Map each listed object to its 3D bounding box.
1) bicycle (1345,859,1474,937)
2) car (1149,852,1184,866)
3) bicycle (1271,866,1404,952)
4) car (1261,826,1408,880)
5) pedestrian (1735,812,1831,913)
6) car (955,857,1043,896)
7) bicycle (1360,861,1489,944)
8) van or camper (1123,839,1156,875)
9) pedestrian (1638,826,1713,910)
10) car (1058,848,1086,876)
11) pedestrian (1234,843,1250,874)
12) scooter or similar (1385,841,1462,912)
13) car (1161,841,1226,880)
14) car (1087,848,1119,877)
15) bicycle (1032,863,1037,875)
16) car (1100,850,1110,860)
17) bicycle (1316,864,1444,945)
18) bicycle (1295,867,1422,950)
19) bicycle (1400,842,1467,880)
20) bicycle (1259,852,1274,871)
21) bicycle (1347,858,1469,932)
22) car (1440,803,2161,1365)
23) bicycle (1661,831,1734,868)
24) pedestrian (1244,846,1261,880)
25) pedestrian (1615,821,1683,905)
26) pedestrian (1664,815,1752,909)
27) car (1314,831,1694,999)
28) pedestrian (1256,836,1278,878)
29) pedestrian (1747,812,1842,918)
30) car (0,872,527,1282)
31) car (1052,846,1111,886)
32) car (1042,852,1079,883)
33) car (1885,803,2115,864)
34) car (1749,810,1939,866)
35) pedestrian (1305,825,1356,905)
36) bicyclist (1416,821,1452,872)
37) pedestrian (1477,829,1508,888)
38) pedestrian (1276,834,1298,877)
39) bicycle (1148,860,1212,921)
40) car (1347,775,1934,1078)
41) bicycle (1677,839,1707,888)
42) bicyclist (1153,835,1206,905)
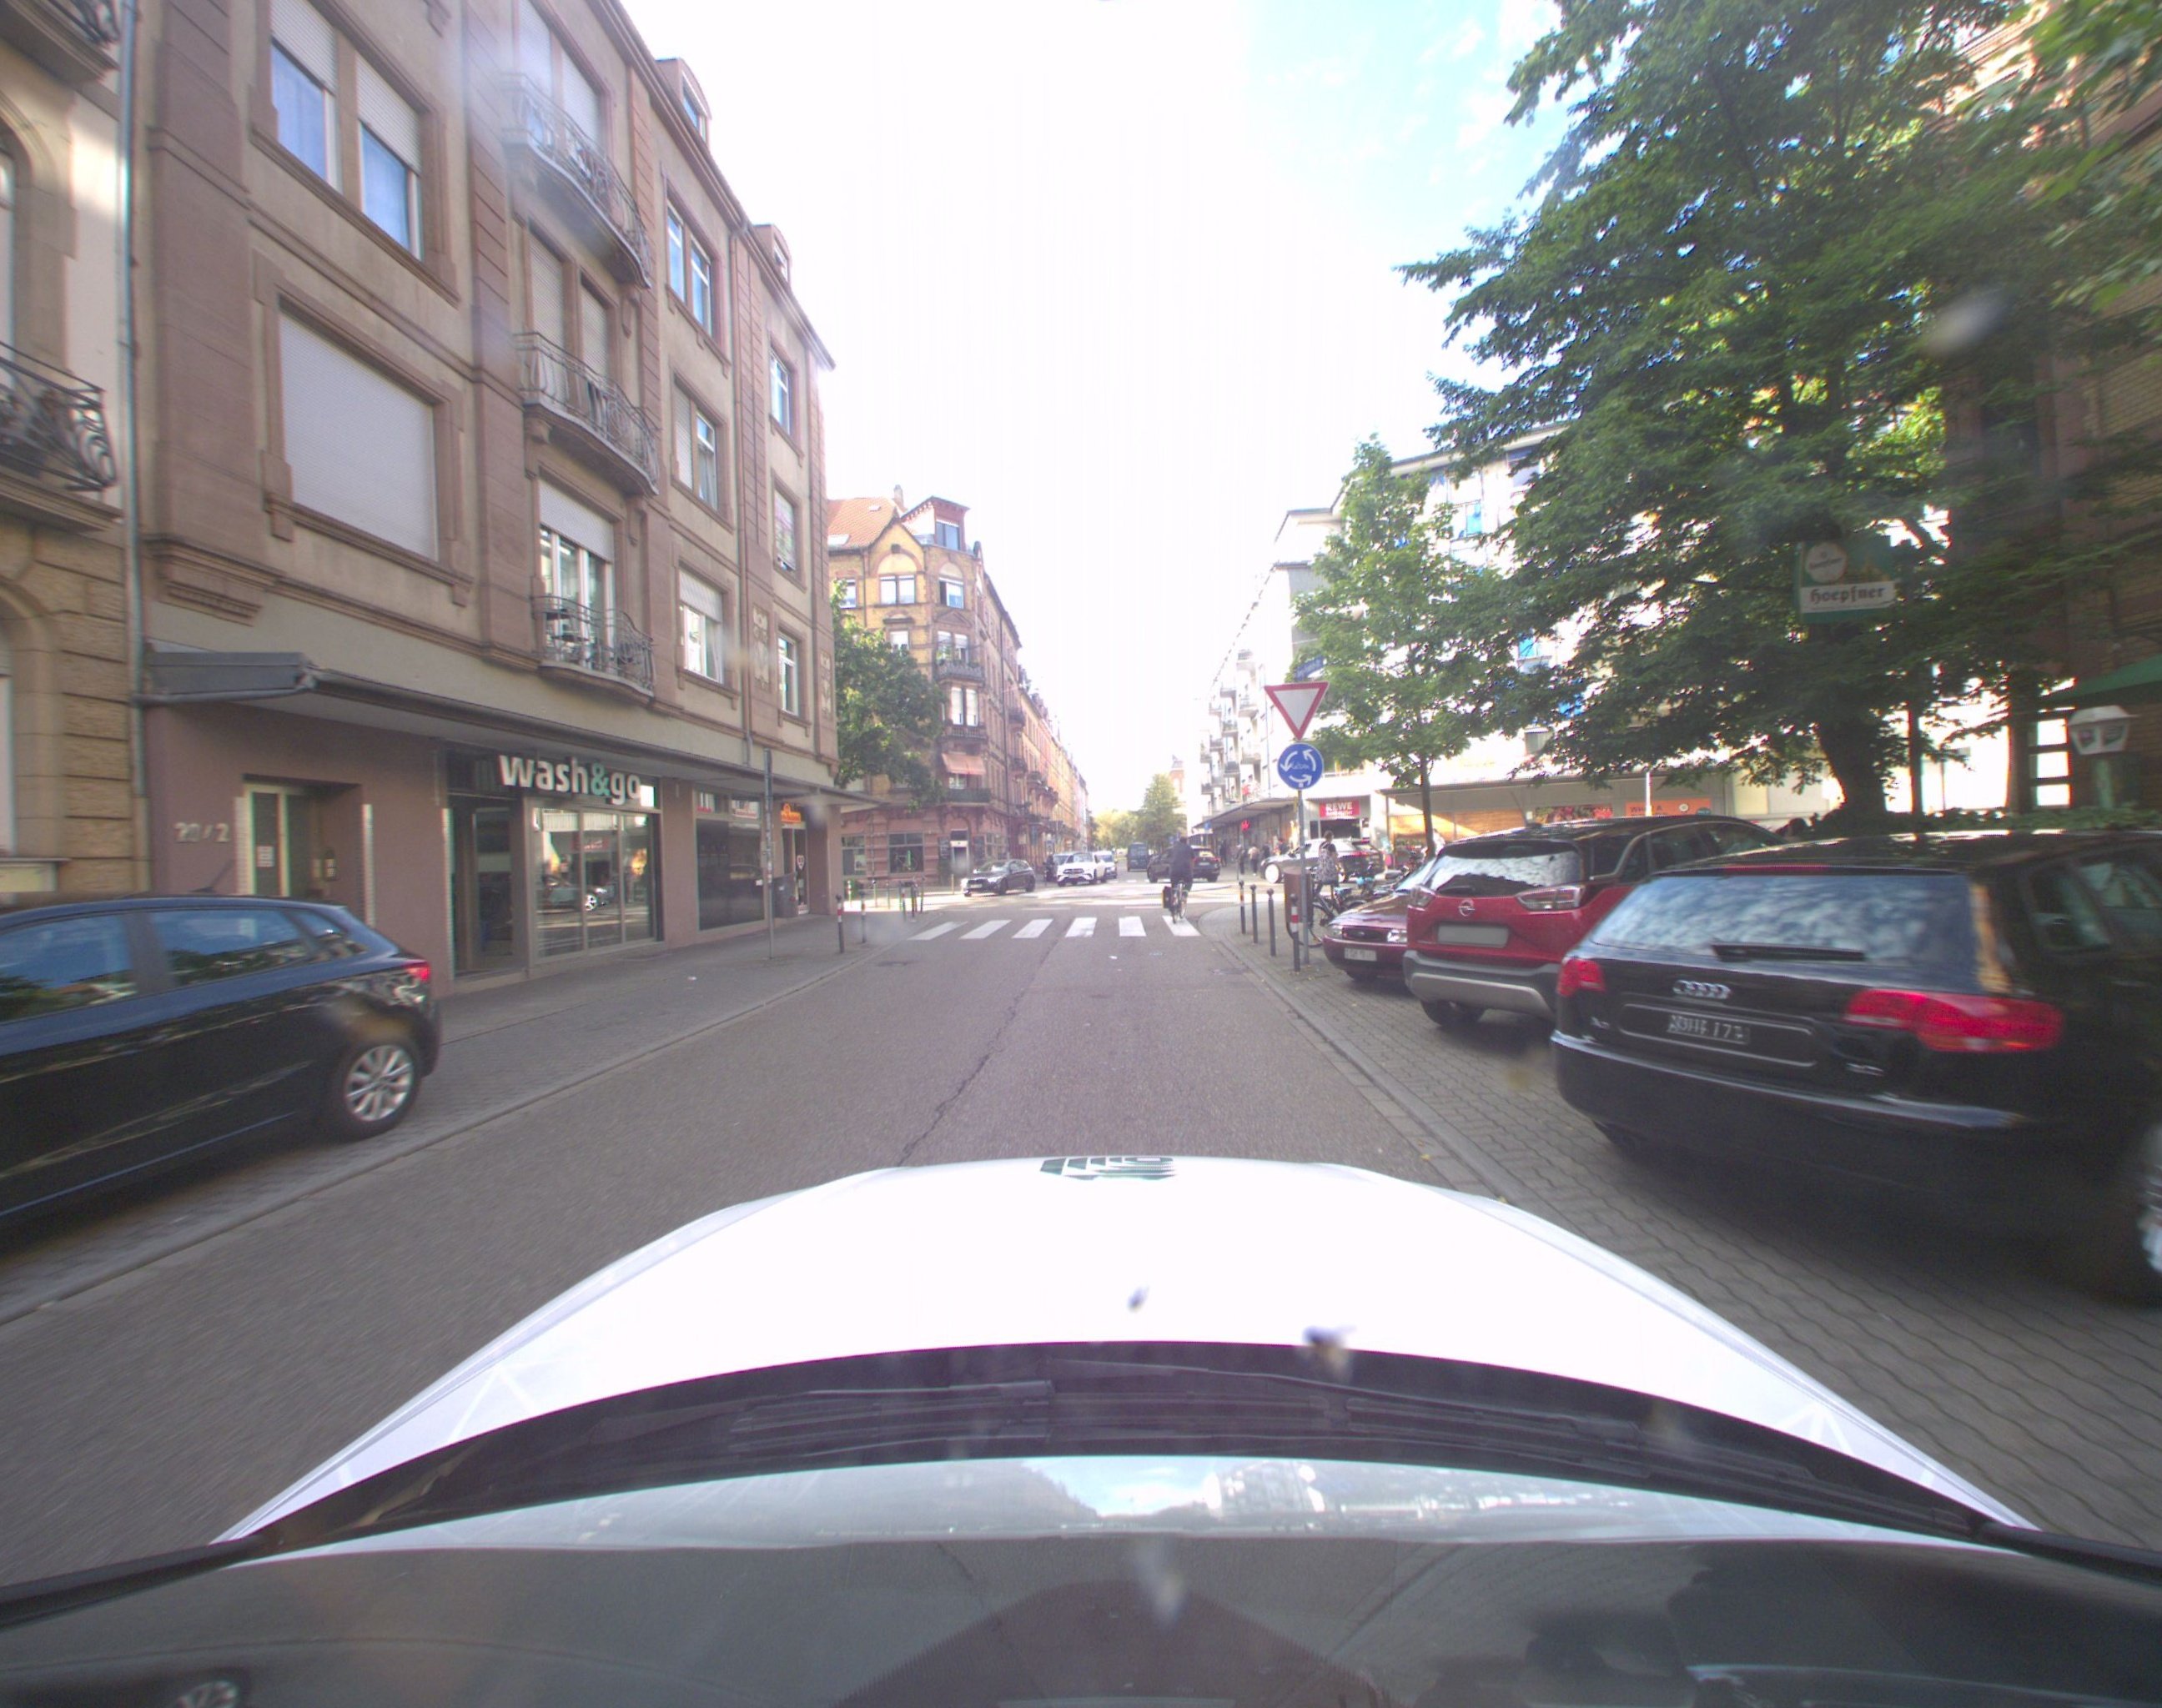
[{"bbox_3d":[4.828,0.643,12.117,0.446,1.040,1.889,-6,0,-26],"label":"bicycle"},{"bbox_3d":[10.234,0.595,97.669,3.973,1.486,2.000,-3,0,0],"label":"car"},{"bbox_3d":[3.489,0.742,11.268,0.551,1.040,1.841,-6,0,-26],"label":"bicycle"},{"bbox_3d":[9.248,0.019,30.083,2.053,1.724,4.789,-5,1,-39],"label":"car"},{"bbox_3d":[10.021,0.119,11.652,0.670,1.358,0.758,-3,0,-1],"label":"pedestrian"},{"bbox_3d":[-3.252,0.869,33.157,1.735,1.436,4.234,-2,-1,22],"label":"car"},{"bbox_3d":[4.747,0.657,11.395,0.348,1.040,1.842,-6,0,-24],"label":"bicycle"},{"bbox_3d":[5.137,0.276,72.305,2.522,3.037,4.459,-3,0,1],"label":"van or camper"},{"bbox_3d":[9.925,0.225,13.607,0.754,1.342,0.596,-3,0,-1],"label":"pedestrian"},{"bbox_3d":[-0.639,0.631,63.994,1.986,2.013,4.001,-3,0,1],"label":"car"},{"bbox_3d":[8.804,0.255,44.527,0.740,1.629,0.815,-3,0,14],"label":"pedestrian"},{"bbox_3d":[6.460,0.418,15.363,1.233,1.274,0.669,-3,0,27],"label":"scooter or similar"},{"bbox_3d":[5.087,0.303,37.359,1.991,1.618,3.992,-3,0,-6],"label":"car"},{"bbox_3d":[1.509,0.541,54.181,1.784,1.790,4.742,-4,0,5],"label":"car"},{"bbox_3d":[-3.819,1.234,67.054,0.359,0.947,1.714,-2,0,-1],"label":"bicycle"},{"bbox_3d":[5.078,0.258,171.851,1.985,2.013,4.003,-3,0,2],"label":"car"},{"bbox_3d":[4.247,0.712,11.740,0.348,1.040,2.002,-6,0,-24],"label":"bicycle"},{"bbox_3d":[3.890,0.753,11.576,0.462,1.040,1.841,-6,0,-26],"label":"bicycle"},{"bbox_3d":[11.891,0.243,27.473,1.950,1.199,0.716,-3,0,29],"label":"bicycle"},{"bbox_3d":[10.237,0.420,44.913,0.362,1.016,1.429,-3,0,-5],"label":"bicycle"},{"bbox_3d":[5.036,0.635,12.685,0.390,1.040,1.904,-6,0,-26],"label":"bicycle"},{"bbox_3d":[4.162,0.534,3.868,4.418,1.457,1.928,-3,0,-22],"label":"car"},{"bbox_3d":[21.227,-0.148,28.047,2.071,1.141,0.436,-3,0,2],"label":"bicycle"},{"bbox_3d":[8.696,0.455,41.376,0.735,1.712,0.736,-3,0,14],"label":"pedestrian"},{"bbox_3d":[9.892,0.154,14.194,0.754,1.392,0.549,-3,0,-2],"label":"pedestrian"},{"bbox_3d":[9.937,0.123,12.925,0.795,1.406,0.702,-3,0,-1],"label":"pedestrian"},{"bbox_3d":[4.799,0.559,9.206,3.951,1.457,1.755,-2,0,-25],"label":"car"},{"bbox_3d":[8.399,0.141,36.819,0.864,1.851,0.614,-3,0,8],"label":"pedestrian"},{"bbox_3d":[9.532,0.144,10.904,0.667,1.351,0.628,-3,0,-1],"label":"pedestrian"},{"bbox_3d":[-4.888,0.876,3.454,1.986,1.420,4.247,-3,0,2],"label":"car"},{"bbox_3d":[0.103,0.579,42.049,1.929,1.722,4.867,-4,1,13],"label":"car"},{"bbox_3d":[-1.246,0.822,51.559,1.774,1.724,4.452,-1,1,6],"label":"car"},{"bbox_3d":[26.359,-0.527,23.596,1.990,1.532,3.993,-3,0,-5],"label":"car"},{"bbox_3d":[23.460,-0.443,25.267,1.990,1.510,3.994,-3,0,-4],"label":"car"},{"bbox_3d":[5.716,0.244,18.666,0.774,1.779,0.798,-3,0,41],"label":"pedestrian"},{"bbox_3d":[11.905,-0.255,27.470,1.003,1.668,0.949,-3,0,27],"label":"bicyclist"},{"bbox_3d":[12.465,0.129,24.673,0.624,1.739,0.779,-3,0,15],"label":"pedestrian"},{"bbox_3d":[9.269,0.066,36.667,0.864,1.851,0.614,-3,0,8],"label":"pedestrian"},{"bbox_3d":[2.189,0.751,17.625,0.660,1.178,2.511,-1,0,24],"label":"bicycle"},{"bbox_3d":[4.535,0.370,6.581,4.360,1.645,1.807,-5,1,-23],"label":"car"},{"bbox_3d":[14.509,0.228,19.377,0.475,1.104,2.040,-3,-2,35],"label":"bicycle"},{"bbox_3d":[2.137,0.342,17.593,0.925,1.484,0.751,-1,0,23],"label":"bicyclist"}]
